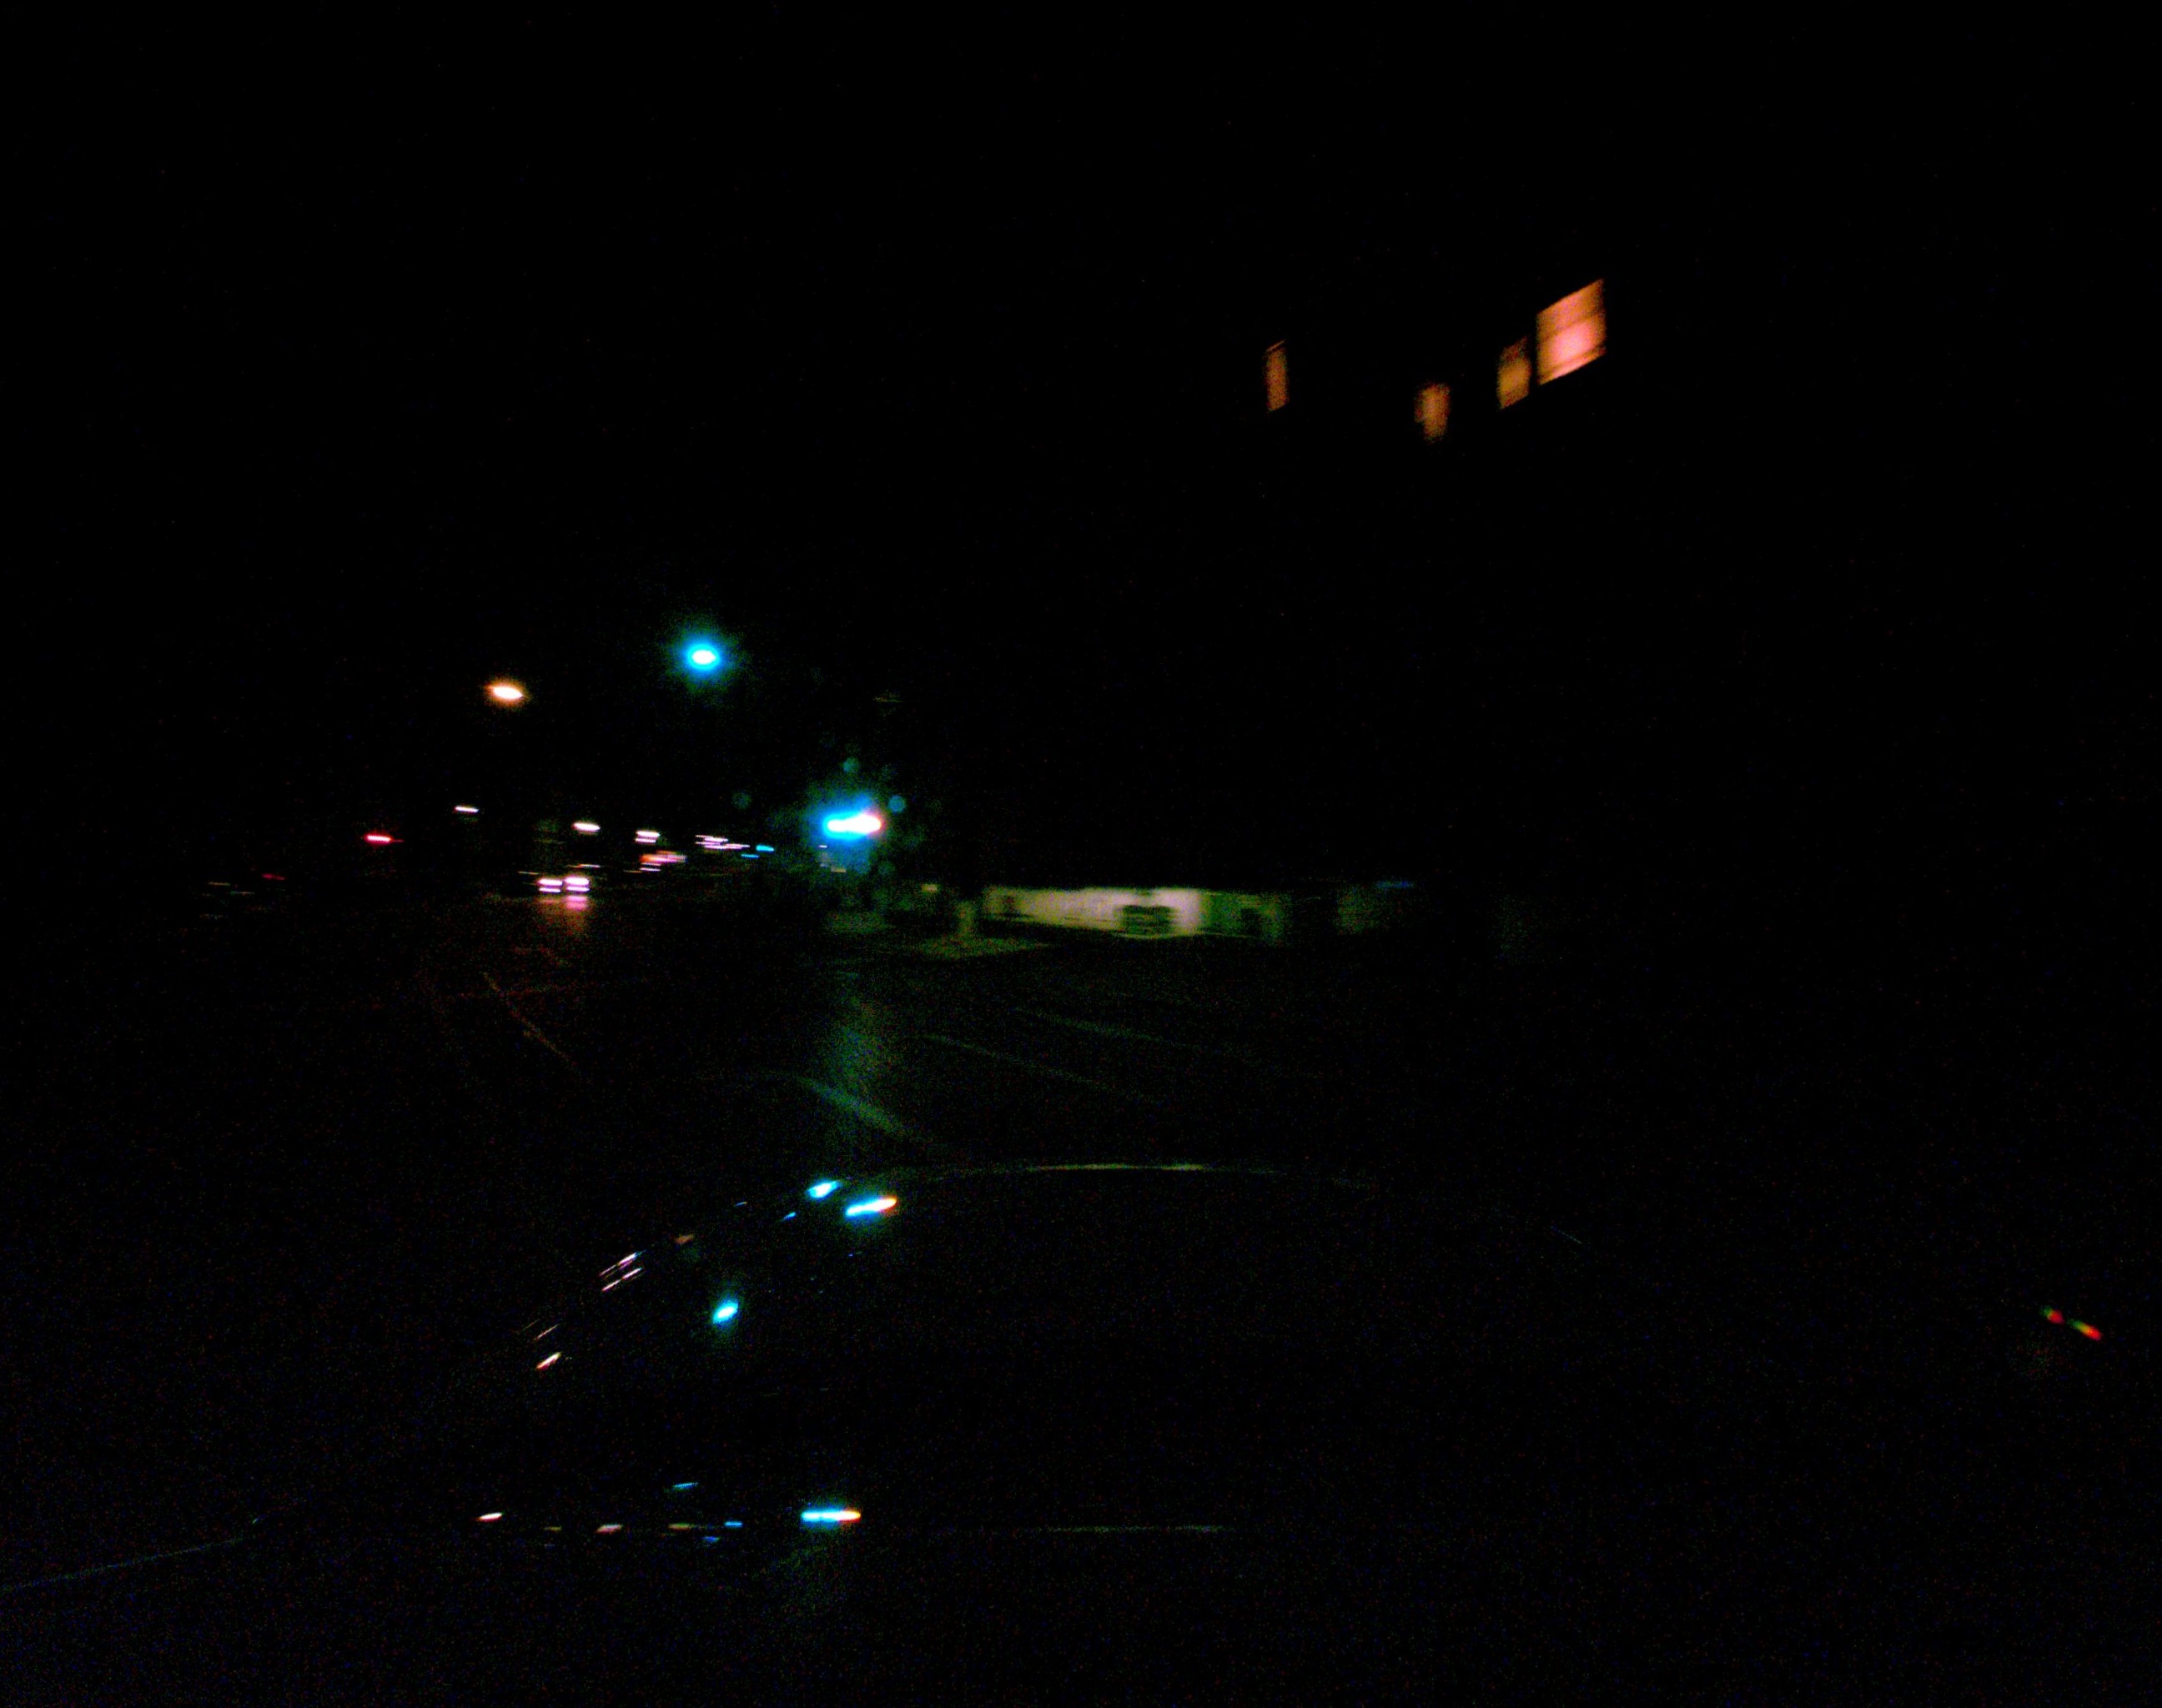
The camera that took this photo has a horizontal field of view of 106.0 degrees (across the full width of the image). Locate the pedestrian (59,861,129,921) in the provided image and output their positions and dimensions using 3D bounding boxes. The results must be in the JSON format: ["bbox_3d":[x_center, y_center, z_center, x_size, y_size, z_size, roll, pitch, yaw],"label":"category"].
[{"bbox_3d":[-28.912,1.056,23.873,0.709,1.690,1.121,-1,0,-7],"label":"pedestrian"}]

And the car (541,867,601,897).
[{"bbox_3d":[-27.204,1.457,43.572,1.719,1.429,3.977,-2,0,-17],"label":"car"}]

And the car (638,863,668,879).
[{"bbox_3d":[-40.087,1.561,76.337,1.790,1.416,4.100,2,-1,-19],"label":"car"}]

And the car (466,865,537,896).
[{"bbox_3d":[-30.071,1.350,42.377,1.594,1.491,3.683,3,-1,-13],"label":"car"}]

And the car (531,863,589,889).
[{"bbox_3d":[-32.484,1.362,50.920,1.788,1.491,4.306,3,-1,-15],"label":"car"}]

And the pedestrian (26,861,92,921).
[{"bbox_3d":[-29.947,1.068,23.876,0.709,1.690,0.995,-1,0,-7],"label":"pedestrian"}]

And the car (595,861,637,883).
[{"bbox_3d":[-36.531,1.397,64.112,1.788,1.582,4.387,3,-1,-16],"label":"car"}]

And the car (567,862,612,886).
[{"bbox_3d":[-34.024,1.345,56.472,1.790,1.491,3.975,3,-1,-19],"label":"car"}]

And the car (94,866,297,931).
[{"bbox_3d":[-24.127,1.149,22.450,1.890,1.596,4.002,2,-1,-16],"label":"car"}]
